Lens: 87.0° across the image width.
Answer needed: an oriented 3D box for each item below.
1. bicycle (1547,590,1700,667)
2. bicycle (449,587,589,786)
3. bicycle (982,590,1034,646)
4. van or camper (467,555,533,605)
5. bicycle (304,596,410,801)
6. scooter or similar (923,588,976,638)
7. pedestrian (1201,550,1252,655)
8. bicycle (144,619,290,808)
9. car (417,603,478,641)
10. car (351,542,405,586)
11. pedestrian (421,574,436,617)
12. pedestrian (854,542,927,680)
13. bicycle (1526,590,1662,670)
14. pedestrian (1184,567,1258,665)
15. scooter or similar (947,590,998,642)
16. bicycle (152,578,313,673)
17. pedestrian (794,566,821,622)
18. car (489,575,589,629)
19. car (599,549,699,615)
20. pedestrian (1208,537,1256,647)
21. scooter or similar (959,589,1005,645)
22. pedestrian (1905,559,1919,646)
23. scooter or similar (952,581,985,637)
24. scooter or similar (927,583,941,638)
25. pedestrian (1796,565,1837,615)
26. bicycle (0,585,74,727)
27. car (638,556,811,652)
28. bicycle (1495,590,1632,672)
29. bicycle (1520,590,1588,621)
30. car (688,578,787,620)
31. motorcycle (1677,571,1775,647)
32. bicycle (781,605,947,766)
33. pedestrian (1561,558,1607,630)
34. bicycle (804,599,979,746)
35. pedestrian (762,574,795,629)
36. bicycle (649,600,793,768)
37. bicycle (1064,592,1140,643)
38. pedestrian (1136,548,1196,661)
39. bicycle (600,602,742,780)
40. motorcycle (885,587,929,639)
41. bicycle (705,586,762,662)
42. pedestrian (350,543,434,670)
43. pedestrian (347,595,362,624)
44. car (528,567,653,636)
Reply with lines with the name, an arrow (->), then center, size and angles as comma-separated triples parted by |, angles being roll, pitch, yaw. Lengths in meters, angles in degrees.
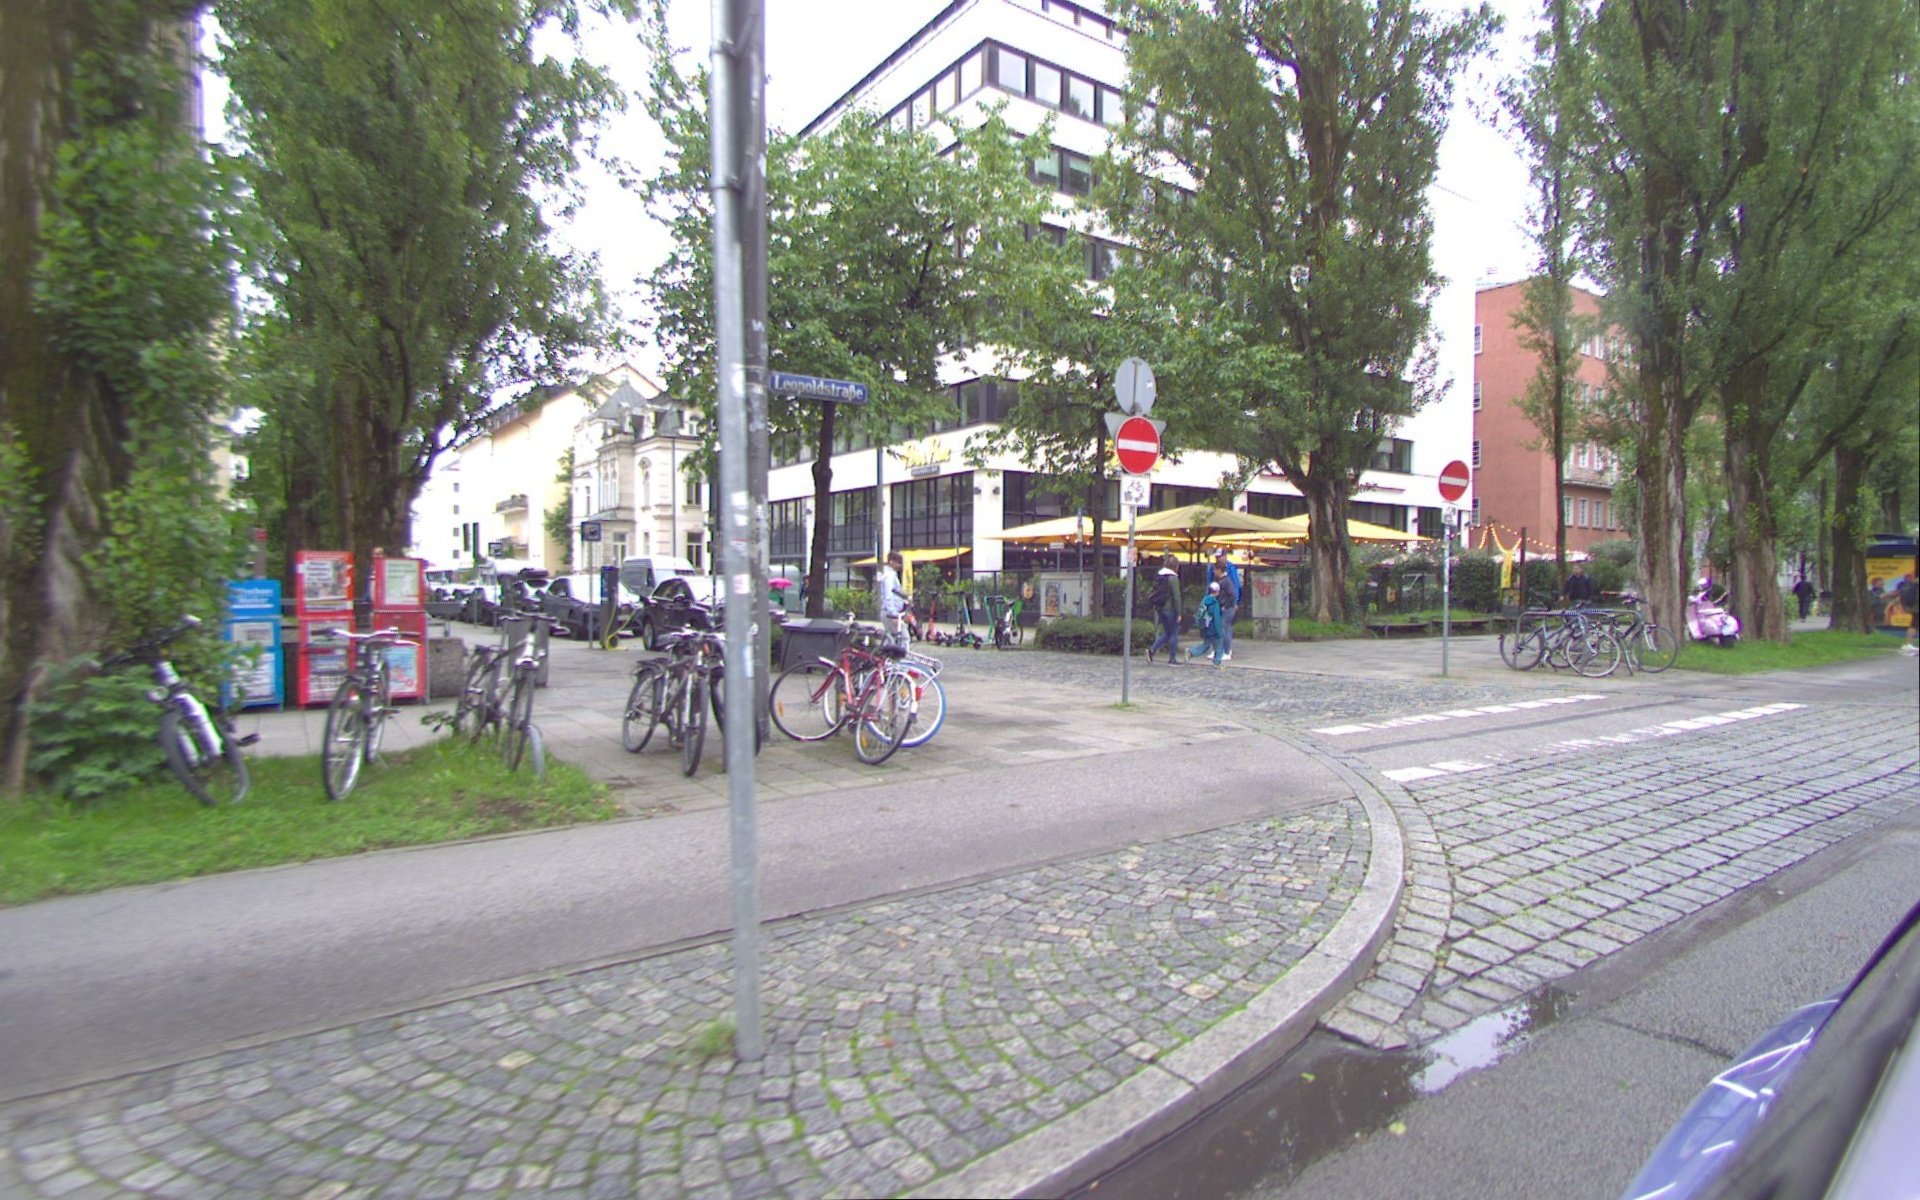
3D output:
bicycle -> 10.263, 0.404, 15.747 | 0.482, 1.107, 1.986 | 0, 1, -30
bicycle -> -3.021, 0.492, 6.824 | 0.503, 1.119, 1.931 | 0, 2, -35
bicycle -> 1.058, 0.363, 21.860 | 0.548, 1.157, 1.749 | 0, 1, 24
van or camper -> -29.808, -1.292, 65.457 | 2.420, 3.085, 7.315 | 0, 1, -37
bicycle -> -3.783, 0.530, 6.402 | 0.503, 1.051, 1.836 | 0, 2, -30
scooter or similar -> -0.254, 0.303, 24.554 | 1.237, 1.194, 0.387 | 0, 1, 24
pedestrian -> 4.594, 0.031, 17.414 | 0.698, 1.749, 0.638 | 0, 1, 32
bicycle -> -4.248, 0.575, 5.878 | 0.462, 0.828, 1.836 | 0, 2, -30
car -> -23.914, 0.986, 47.156 | 1.835, 1.517, 3.871 | -2, 2, -38
car -> -34.440, -2.100, 59.795 | 2.051, 2.462, 5.608 | -2, 2, -37
pedestrian -> -20.427, -0.188, 38.910 | 0.480, 1.648, 0.568 | 0, 1, -32
pedestrian -> -0.905, 0.130, 13.261 | 0.666, 1.746, 0.703 | 1, 1, 37
bicycle -> 9.496, 0.419, 15.216 | 0.482, 1.107, 1.705 | 0, 1, -30
pedestrian -> 3.964, 0.228, 15.404 | 0.754, 1.437, 0.820 | 0, 1, -19
scooter or similar -> 0.290, 0.344, 23.170 | 1.227, 1.158, 0.327 | -1, 1, -35
bicycle -> -10.389, 0.328, 14.530 | 1.833, 1.292, 0.722 | -1, 1, -34
pedestrian -> -4.863, -0.189, 32.339 | 0.571, 1.770, 0.643 | 0, 1, 31
car -> -13.609, 0.002, 32.567 | 1.963, 1.602, 4.340 | -1, 2, -37
car -> -12.868, -0.746, 41.623 | 2.028, 2.522, 5.847 | 1, 1, -37
pedestrian -> 4.904, -0.148, 18.231 | 0.698, 1.932, 0.638 | 0, 1, 32
scooter or similar -> 0.500, 0.357, 22.326 | 0.366, 1.158, 1.415 | 1, 1, 31
pedestrian -> 20.090, 0.052, 20.832 | 0.691, 1.795, 0.753 | 0, 1, -30
scooter or similar -> 0.220, 0.195, 24.157 | 0.324, 1.289, 1.241 | 0, 1, 24
scooter or similar -> -0.644, 0.249, 24.673 | 0.321, 1.289, 1.358 | 0, 0, -1
pedestrian -> 30.132, -0.354, 35.595 | 0.753, 1.714, 0.891 | 0, 1, -31
bicycle -> -8.687, 0.469, 8.455 | 1.830, 1.174, 0.589 | 0, 1, -23
car -> -4.860, 0.007, 20.447 | 1.891, 1.721, 4.200 | -1, 2, -37
bicycle -> 8.812, 0.424, 14.843 | 0.482, 1.107, 1.705 | 0, 1, -30
bicycle -> 19.164, 0.164, 32.695 | 0.609, 0.924, 1.801 | -1, 1, -37
car -> -7.773, -0.075, 35.071 | 1.962, 1.346, 4.117 | -1, 1, -34
motorcycle -> 14.532, 0.133, 19.271 | 0.619, 1.209, 1.987 | 0, 6, 11
bicycle -> -0.798, 0.590, 7.833 | 0.466, 1.064, 1.877 | 0, 1, -33
pedestrian -> 15.065, -0.151, 24.431 | 0.634, 1.714, 0.736 | 0, 1, -31
bicycle -> -0.630, 0.550, 8.548 | 0.467, 1.063, 1.874 | 0, 2, -40
pedestrian -> -5.865, 0.039, 32.674 | 0.912, 1.727, 0.800 | 0, 1, 1
bicycle -> -1.888, 0.574, 7.789 | 0.466, 1.063, 1.878 | 0, 2, -33
bicycle -> 3.031, 0.359, 21.730 | 0.543, 1.035, 1.762 | -1, 1, -36
pedestrian -> 3.220, 0.058, 15.855 | 0.676, 1.722, 0.665 | 0, 1, -19
bicycle -> -2.159, 0.583, 7.389 | 0.466, 1.063, 1.878 | 0, 2, -33
motorcycle -> -1.287, 0.303, 25.101 | 0.758, 1.211, 1.987 | 1, 0, 6
bicycle -> -3.674, 0.351, 16.333 | 0.466, 1.151, 1.879 | 0, 1, -26
pedestrian -> -8.011, 0.077, 14.319 | 0.851, 1.735, 0.914 | 0, 1, -16
pedestrian -> -33.231, 0.510, 55.554 | 0.634, 1.557, 0.708 | 0, 0, -38
car -> -10.254, -0.026, 27.886 | 1.982, 1.721, 4.671 | -1, 2, -37
